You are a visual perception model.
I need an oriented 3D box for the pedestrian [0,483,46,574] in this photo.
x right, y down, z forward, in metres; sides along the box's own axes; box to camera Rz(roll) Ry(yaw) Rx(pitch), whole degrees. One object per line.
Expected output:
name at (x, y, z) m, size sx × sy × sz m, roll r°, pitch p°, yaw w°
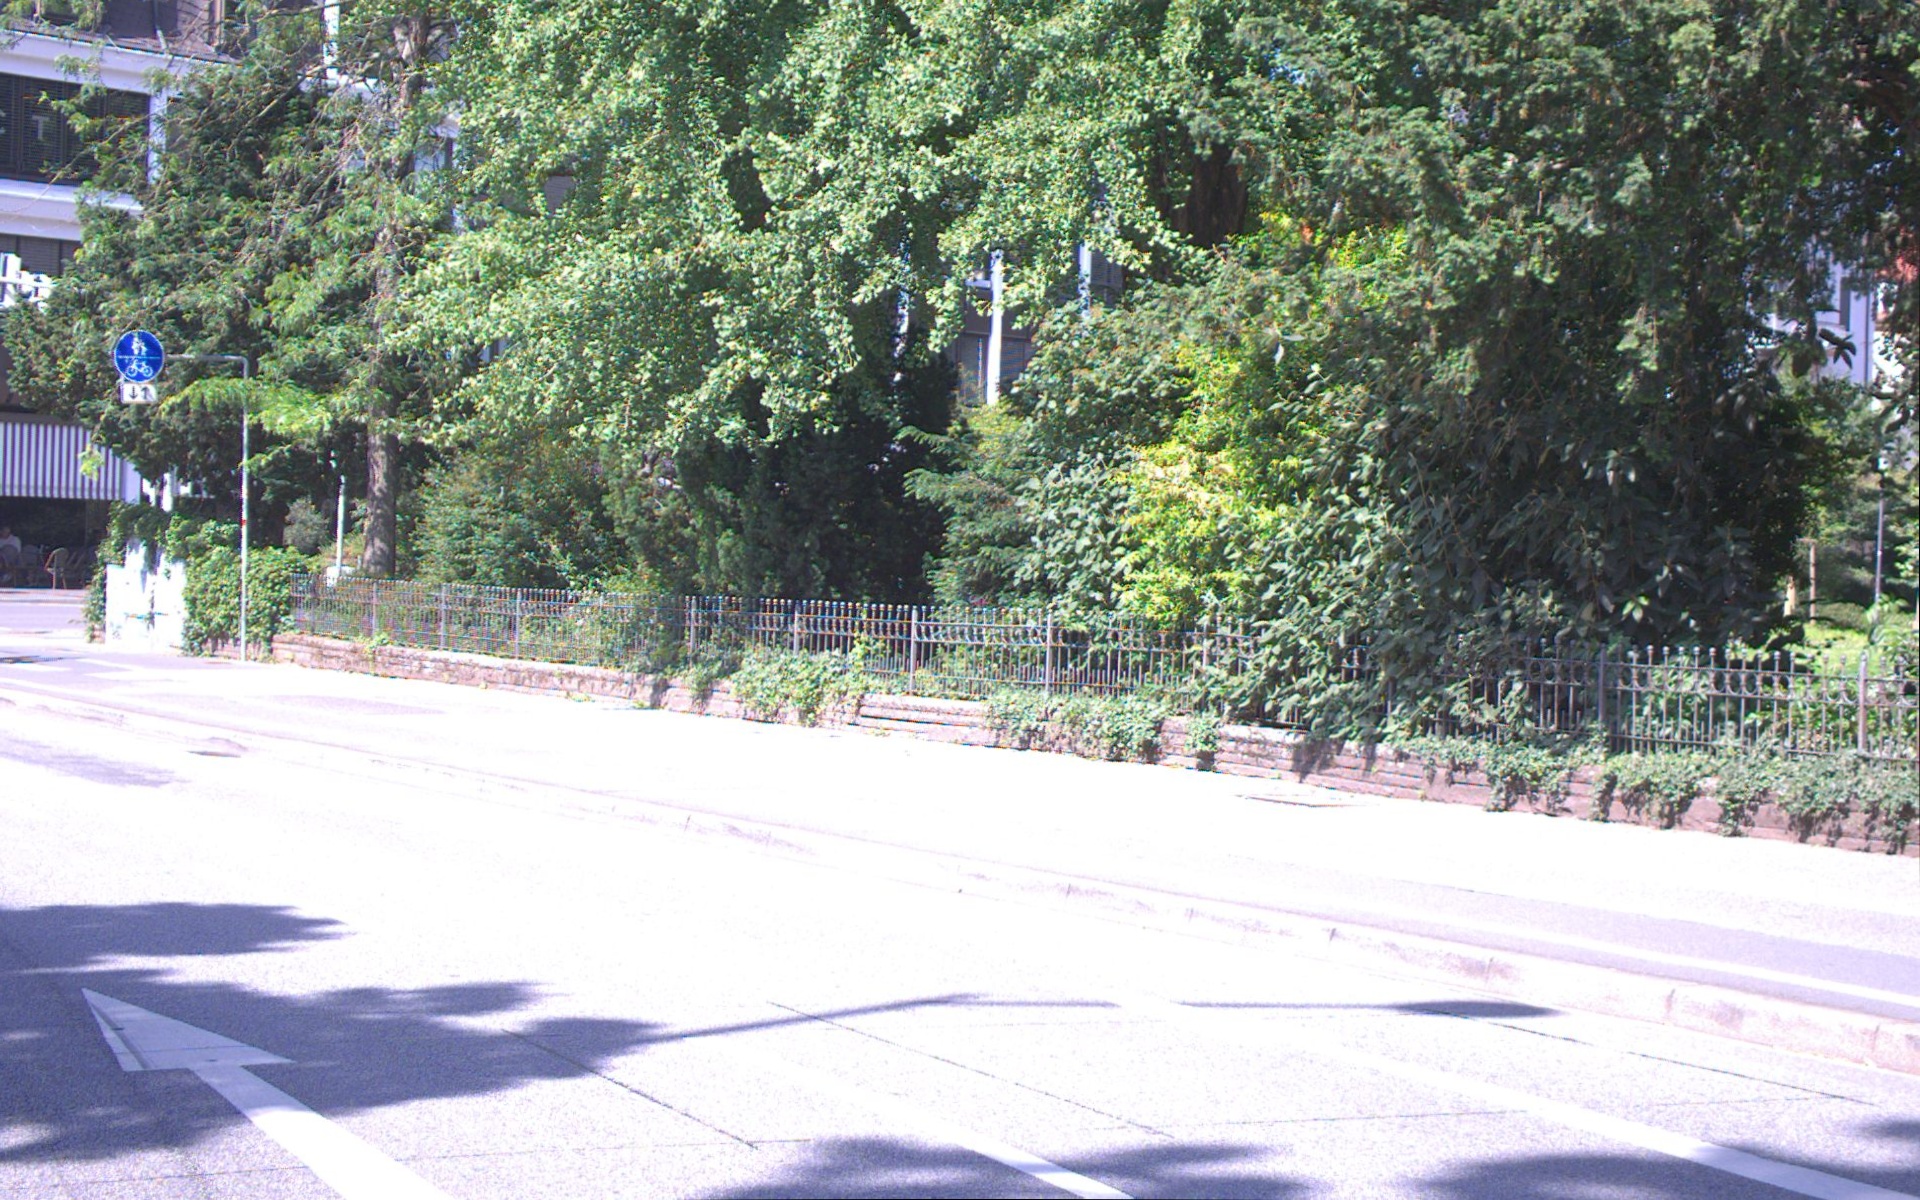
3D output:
pedestrian at (-21.189, -1.595, 77.114) m, size 0.984 × 2.007 × 0.863 m, roll 1°, pitch 1°, yaw -43°

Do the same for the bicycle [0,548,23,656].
bicycle at (-11.132, -0.007, 38.558) m, size 0.853 × 1.156 × 2.084 m, roll 2°, pitch 1°, yaw -24°

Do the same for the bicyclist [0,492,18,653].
bicyclist at (-11.168, -0.334, 38.661) m, size 0.858 × 1.790 × 1.130 m, roll 2°, pitch 1°, yaw -25°
